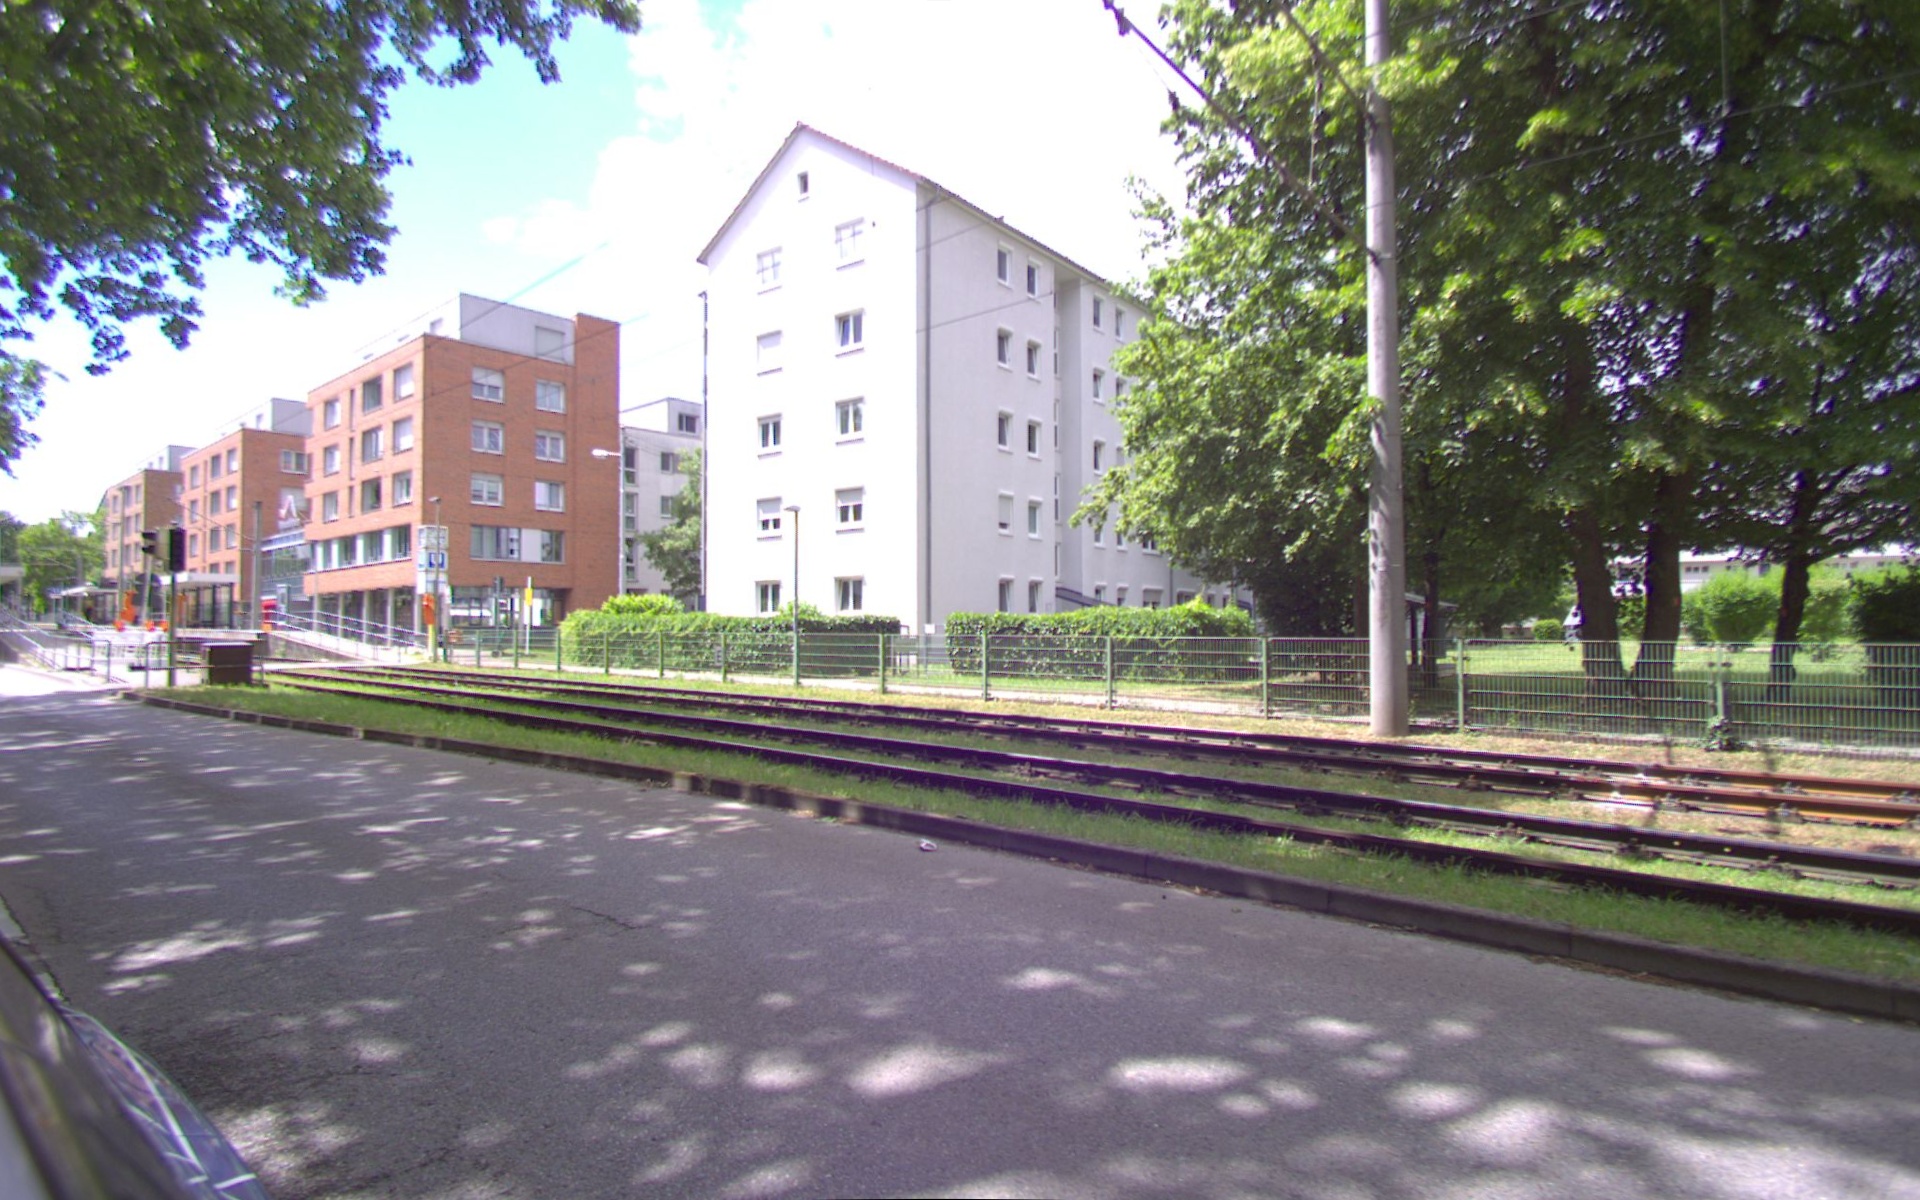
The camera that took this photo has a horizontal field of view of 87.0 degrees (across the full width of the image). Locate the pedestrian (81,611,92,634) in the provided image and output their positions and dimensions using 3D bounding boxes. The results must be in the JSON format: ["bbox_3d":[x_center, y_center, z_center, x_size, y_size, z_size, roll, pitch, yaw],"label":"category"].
[{"bbox_3d":[-67.834,1.761,78.565,0.527,1.777,0.529,-1,-2,38],"label":"pedestrian"}]

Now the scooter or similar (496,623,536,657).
[{"bbox_3d":[-16.819,1.518,38.354,1.280,1.263,0.466,2,-3,-40],"label":"scooter or similar"}]

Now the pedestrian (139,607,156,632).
[{"bbox_3d":[-52.964,1.281,65.947,0.815,1.641,0.743,-1,-1,41],"label":"pedestrian"}]
